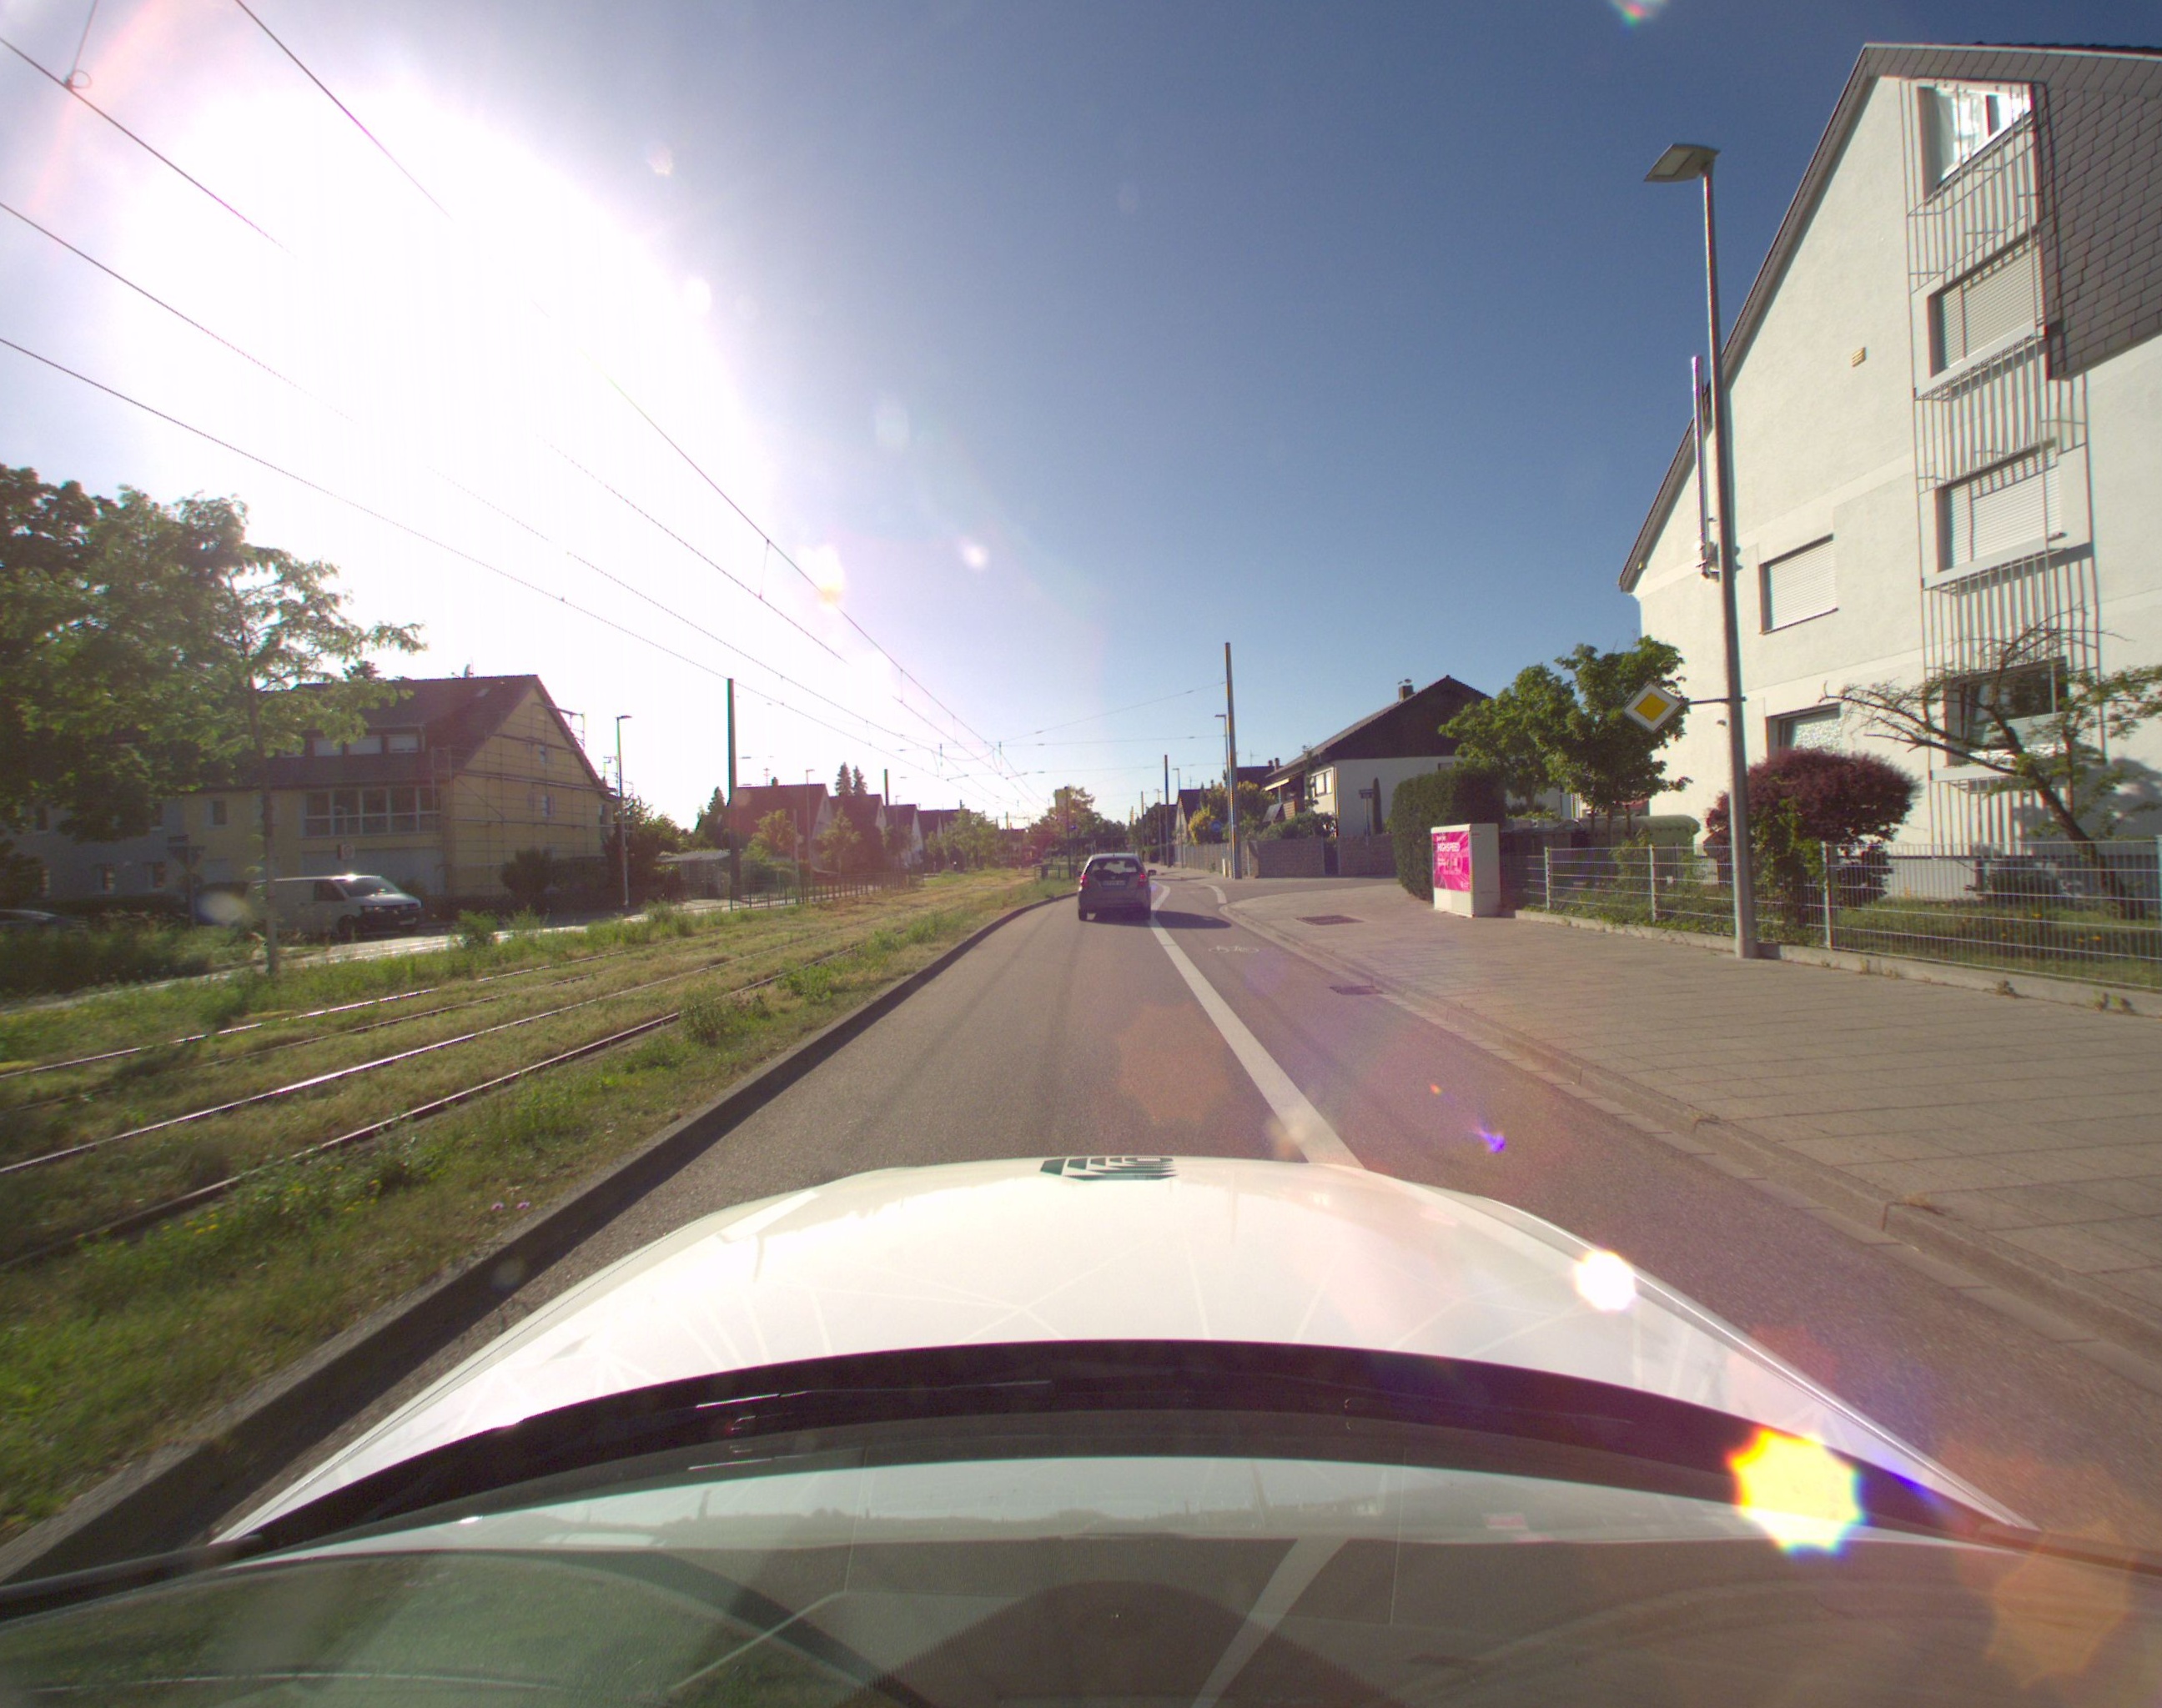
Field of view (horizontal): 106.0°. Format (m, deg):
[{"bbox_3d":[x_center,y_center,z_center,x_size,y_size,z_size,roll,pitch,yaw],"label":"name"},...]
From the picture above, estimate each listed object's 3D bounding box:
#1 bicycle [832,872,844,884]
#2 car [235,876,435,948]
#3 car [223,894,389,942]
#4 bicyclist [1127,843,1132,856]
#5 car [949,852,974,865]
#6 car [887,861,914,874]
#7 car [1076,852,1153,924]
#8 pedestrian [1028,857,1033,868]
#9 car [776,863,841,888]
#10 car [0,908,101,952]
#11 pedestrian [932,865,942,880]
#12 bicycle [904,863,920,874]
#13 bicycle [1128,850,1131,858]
[{"bbox_3d":[-20.398,1.968,68.377,0.421,0.942,1.749,-3,0,1],"label":"bicycle"},{"bbox_3d":[-22.997,1.757,25.185,4.661,1.914,1.907,-3,0,7],"label":"car"},{"bbox_3d":[-27.006,2.221,28.469,3.974,1.404,1.852,-3,-2,0],"label":"car"},{"bbox_3d":[6.605,-0.603,111.666,0.596,1.701,0.684,-1,-1,1],"label":"bicyclist"},{"bbox_3d":[-19.681,0.778,134.104,3.982,1.970,1.928,-1,-1,-7],"label":"car"},{"bbox_3d":[-21.768,1.587,98.375,1.927,1.450,5.164,-2,0,1],"label":"car"},{"bbox_3d":[0.749,0.748,19.728,1.665,1.535,3.486,-1,0,0],"label":"car"},{"bbox_3d":[-7.661,1.300,123.345,0.673,1.535,0.748,-2,0,-3],"label":"pedestrian"},{"bbox_3d":[-21.414,1.678,64.199,4.541,1.734,2.045,-3,0,-11],"label":"car"},{"bbox_3d":[-36.828,2.669,28.237,3.718,1.346,1.560,-3,0,0],"label":"car"},{"bbox_3d":[-16.581,2.118,93.764,0.961,1.640,1.086,-2,0,1],"label":"pedestrian"},{"bbox_3d":[-22.892,1.985,110.088,1.986,1.365,0.703,-2,0,-6],"label":"bicycle"},{"bbox_3d":[6.653,-0.002,111.841,0.473,0.961,1.657,-1,-1,2],"label":"bicycle"}]
